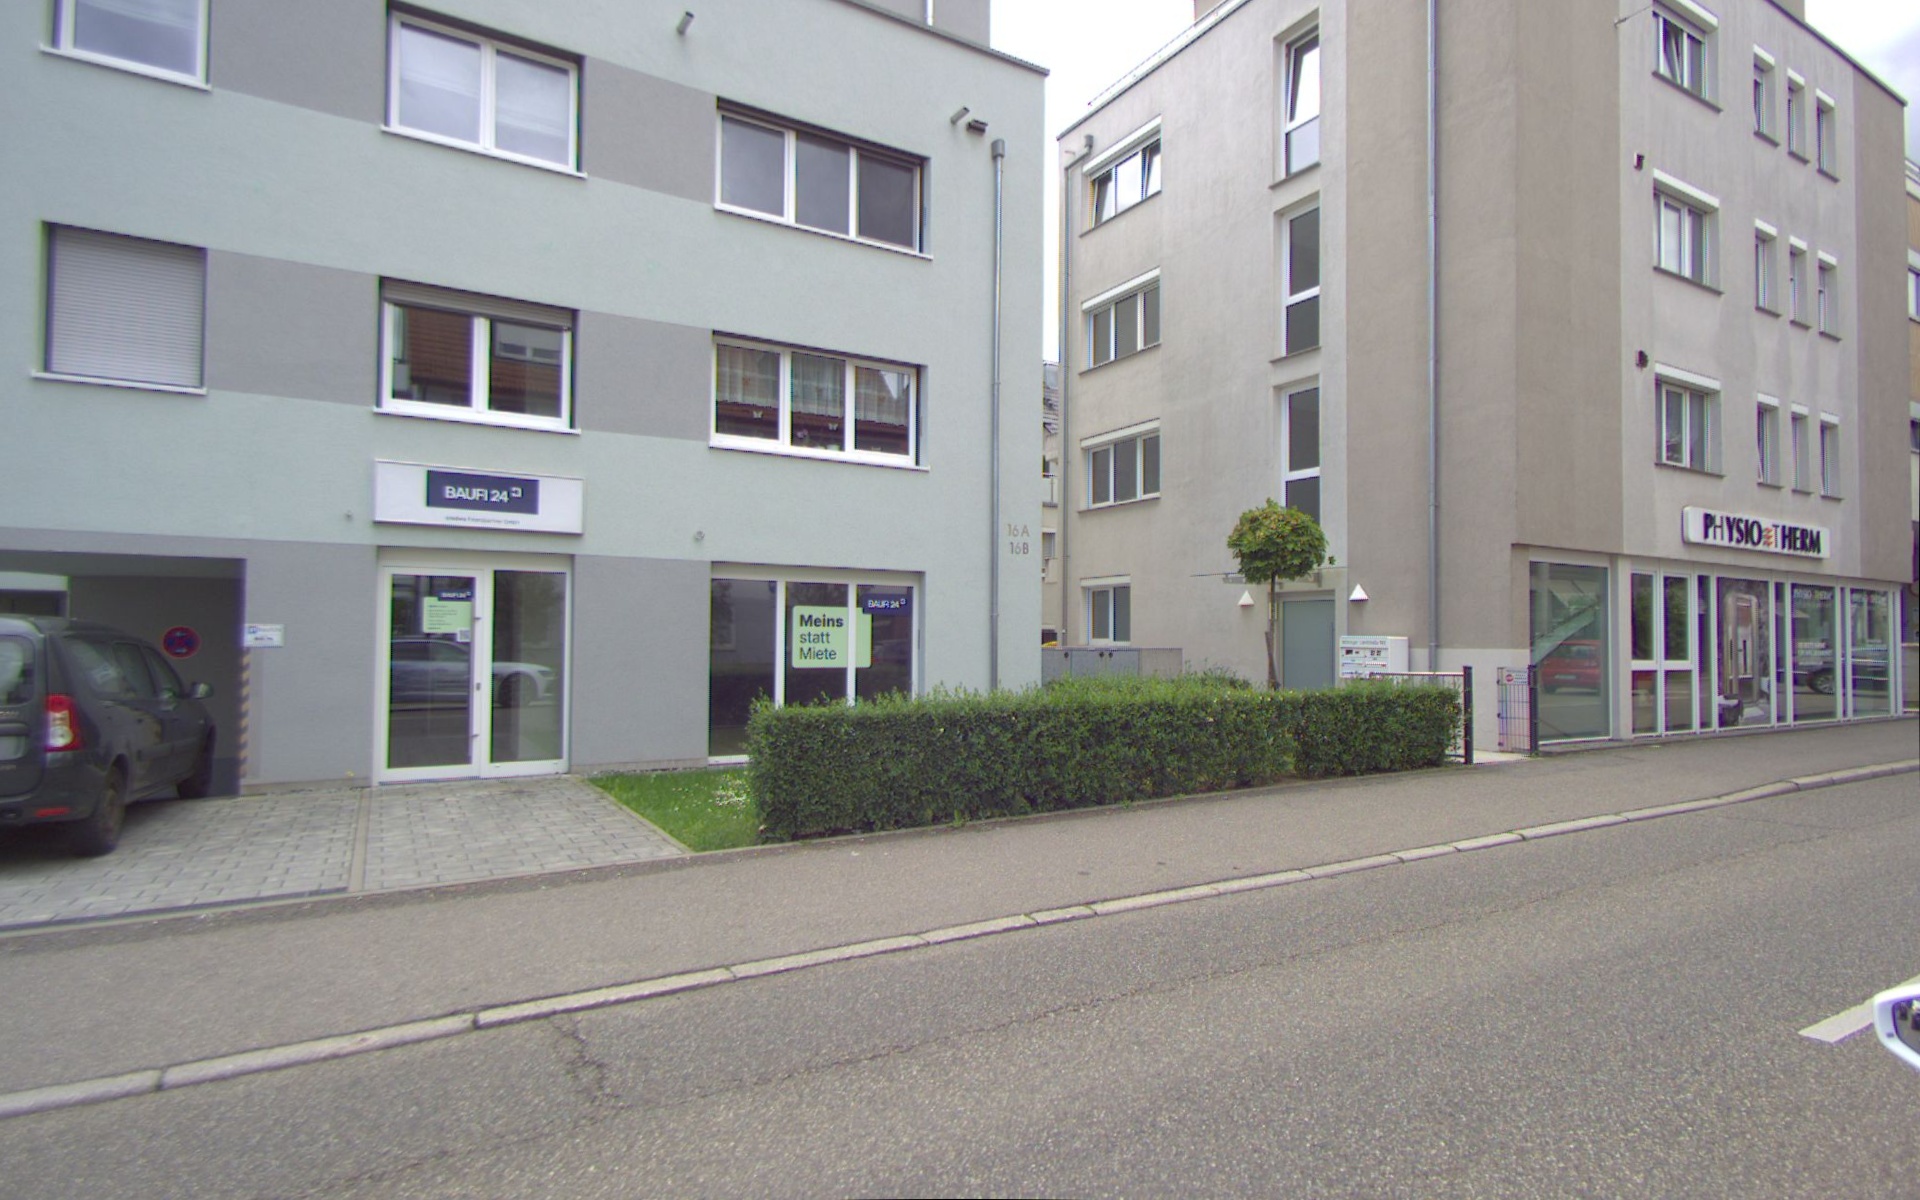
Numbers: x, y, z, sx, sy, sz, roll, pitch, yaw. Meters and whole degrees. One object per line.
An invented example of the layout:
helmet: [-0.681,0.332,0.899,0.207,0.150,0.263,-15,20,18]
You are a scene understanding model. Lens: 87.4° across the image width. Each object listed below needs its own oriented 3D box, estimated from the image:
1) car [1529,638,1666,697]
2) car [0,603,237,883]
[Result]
car: [17.767,1.853,27.965,3.647,1.476,1.745,2,-1,-30]
car: [-7.090,0.918,7.775,1.702,1.689,4.150,2,-2,-26]
